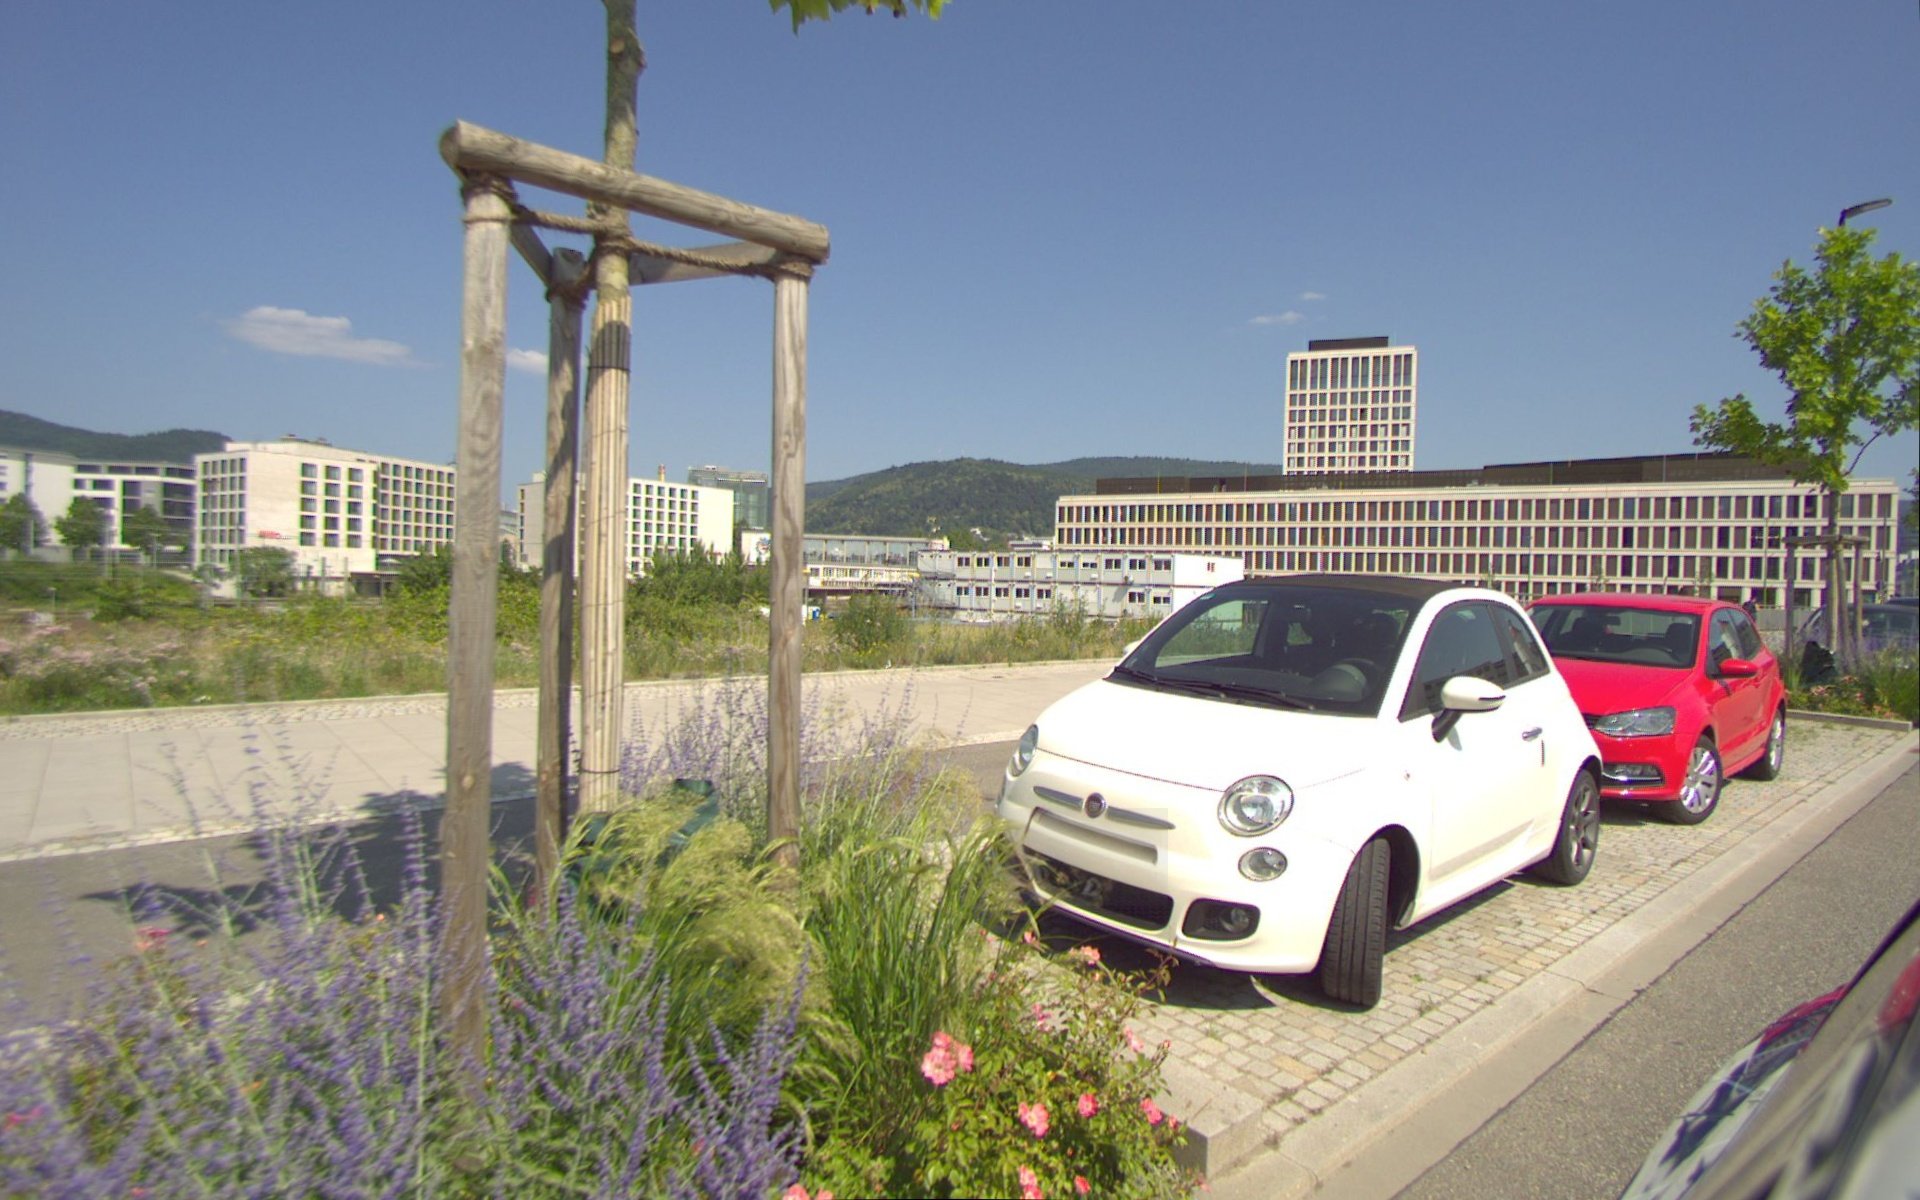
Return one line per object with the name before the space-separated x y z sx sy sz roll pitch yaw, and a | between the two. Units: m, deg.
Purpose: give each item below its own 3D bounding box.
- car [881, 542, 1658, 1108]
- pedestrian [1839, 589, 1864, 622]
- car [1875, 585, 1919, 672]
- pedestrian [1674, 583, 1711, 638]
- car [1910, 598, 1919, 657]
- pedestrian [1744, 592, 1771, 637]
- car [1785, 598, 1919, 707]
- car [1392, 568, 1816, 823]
car | 1.594 0.546 4.616 3.579 1.542 1.721 -2 5 -41
pedestrian | 46.236 0.288 52.501 0.932 1.628 0.752 1 3 -41
car | 19.898 0.580 20.372 4.168 1.628 1.737 1 2 -42
pedestrian | 23.657 0.339 32.689 0.729 1.726 0.782 1 1 -40
car | 26.446 0.767 26.686 3.751 1.510 1.607 1 2 -41
pedestrian | 31.230 0.550 39.627 0.639 1.727 0.733 -1 0 -40
car | 13.837 0.721 15.198 4.168 1.447 1.635 1 -1 -42
car | 5.088 0.590 7.785 3.930 1.470 1.720 2 -1 -41
